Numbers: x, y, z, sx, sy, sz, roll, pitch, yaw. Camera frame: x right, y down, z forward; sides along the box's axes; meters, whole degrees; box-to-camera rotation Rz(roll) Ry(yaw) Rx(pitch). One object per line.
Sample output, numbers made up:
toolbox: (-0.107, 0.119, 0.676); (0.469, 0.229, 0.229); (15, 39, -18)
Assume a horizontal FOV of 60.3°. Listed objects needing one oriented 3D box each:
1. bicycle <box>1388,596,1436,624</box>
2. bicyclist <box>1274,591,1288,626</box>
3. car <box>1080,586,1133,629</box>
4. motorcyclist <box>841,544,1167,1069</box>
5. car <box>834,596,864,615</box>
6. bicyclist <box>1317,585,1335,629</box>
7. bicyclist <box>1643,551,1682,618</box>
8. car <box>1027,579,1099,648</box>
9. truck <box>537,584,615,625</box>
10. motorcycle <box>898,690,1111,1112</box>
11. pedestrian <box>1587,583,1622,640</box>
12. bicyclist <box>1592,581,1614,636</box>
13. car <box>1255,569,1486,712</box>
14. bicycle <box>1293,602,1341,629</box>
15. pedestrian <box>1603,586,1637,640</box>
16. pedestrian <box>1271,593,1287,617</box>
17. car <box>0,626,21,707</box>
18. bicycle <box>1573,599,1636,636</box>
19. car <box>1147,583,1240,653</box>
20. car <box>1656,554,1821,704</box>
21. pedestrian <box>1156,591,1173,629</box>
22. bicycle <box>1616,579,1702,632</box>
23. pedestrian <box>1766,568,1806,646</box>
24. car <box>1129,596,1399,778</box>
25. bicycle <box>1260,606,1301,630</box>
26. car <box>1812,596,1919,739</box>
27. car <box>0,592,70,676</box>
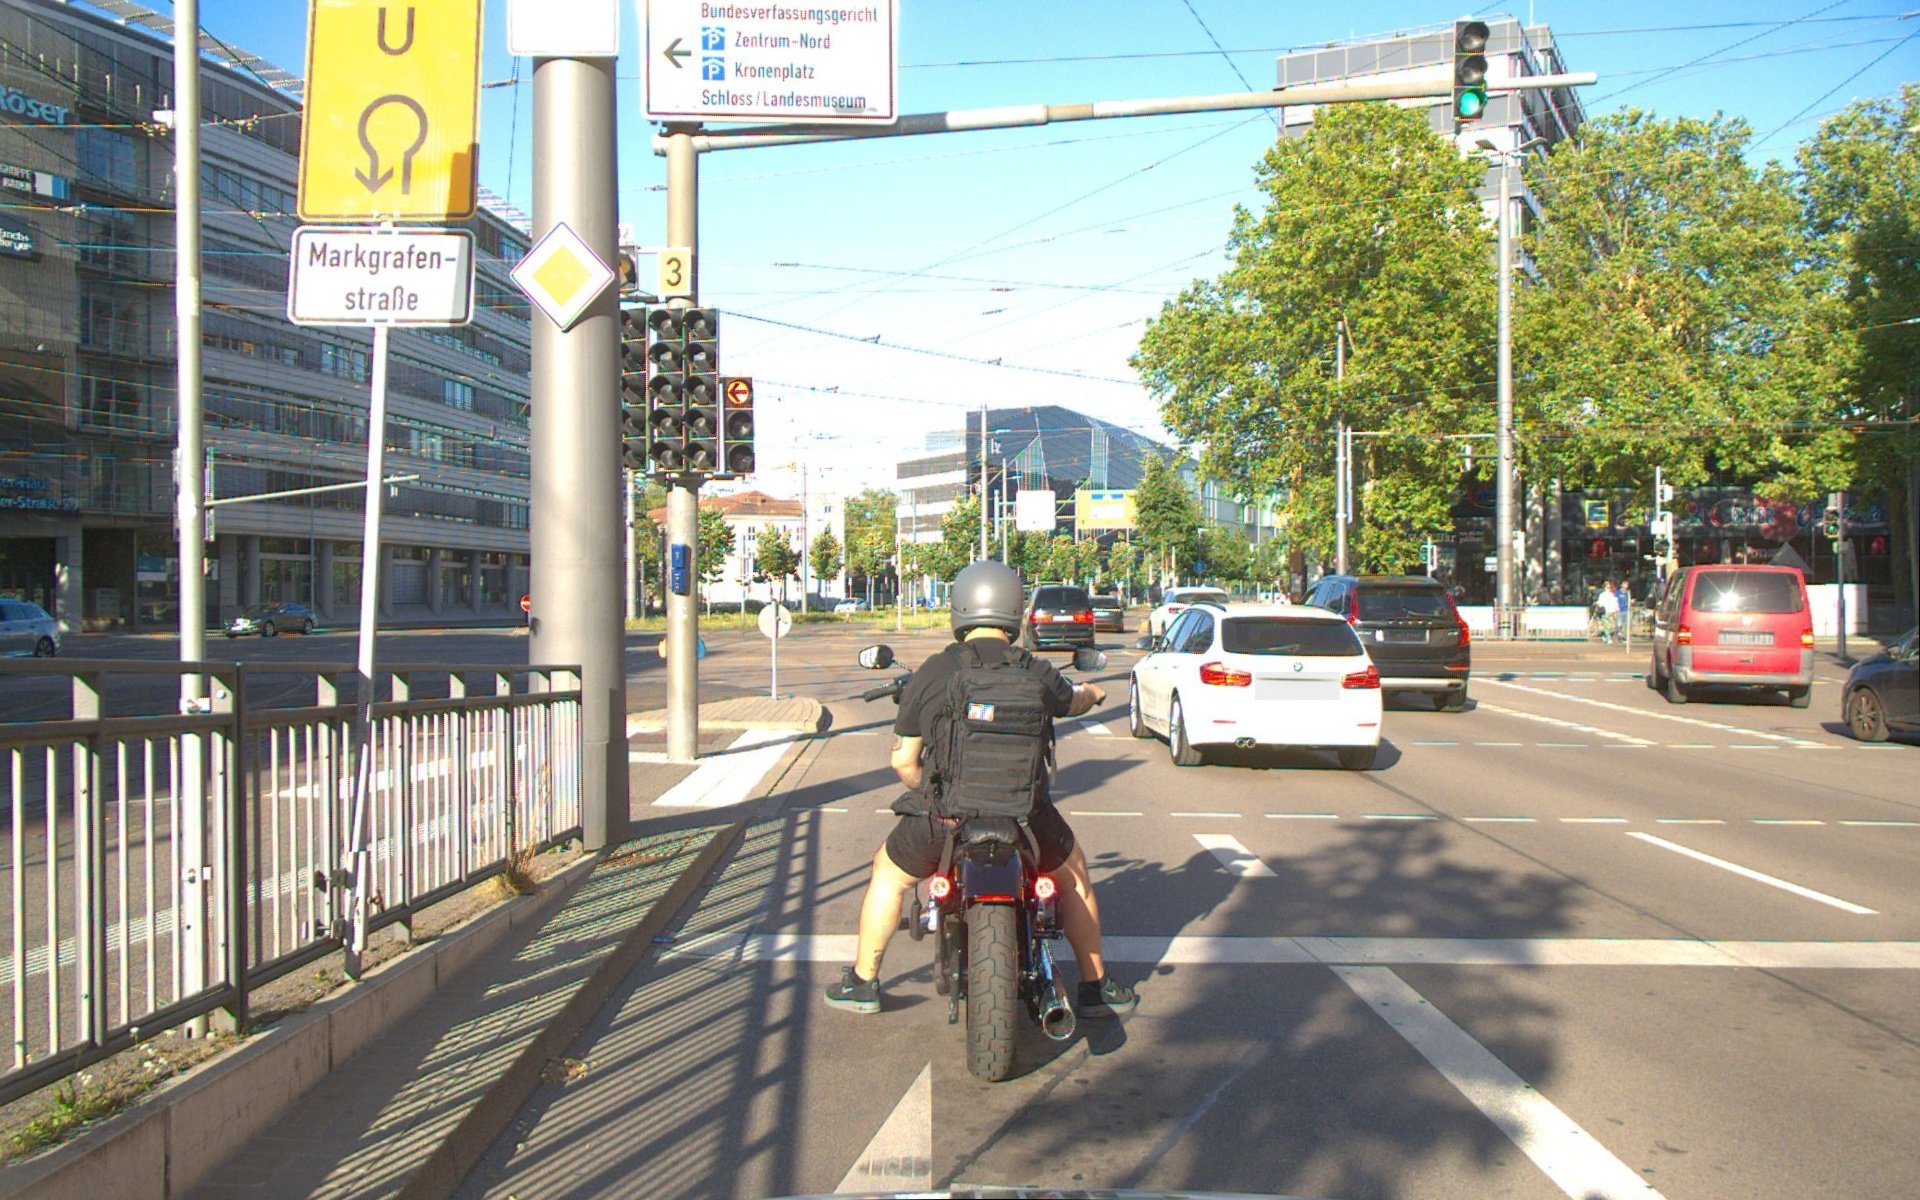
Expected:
bicycle: (18.090, 0.406, 66.215); (1.842, 1.065, 0.360); (1, -1, -2)
bicyclist: (12.665, 0.331, 65.288); (0.341, 1.397, 0.377); (2, -1, -37)
car: (6.137, 0.323, 69.583); (1.767, 1.708, 4.039); (1, -1, -2)
motorcyclist: (0.131, 0.637, 5.567); (1.009, 1.621, 0.873); (0, 0, -1)
car: (-9.064, 0.438, 135.480); (1.786, 1.455, 4.533); (0, 0, 5)
bicyclist: (14.523, 0.280, 65.639); (0.673, 1.702, 0.541); (0, -1, 18)
bicyclist: (19.477, -0.426, 45.859); (0.719, 1.840, 0.692); (1, -1, -31)
car: (2.680, 0.366, 43.676); (1.766, 1.708, 4.042); (1, -1, 2)
truck: (-19.184, 0.226, 82.823); (1.951, 1.912, 5.160); (-3, -1, 9)
motorcycle: (0.110, 0.919, 5.823); (0.588, 1.054, 2.233); (1, 0, -1)
pedestrian: (18.054, 0.321, 46.341); (0.559, 1.559, 0.696); (1, -1, -26)
bicyclist: (22.205, 0.301, 57.143); (0.572, 1.870, 0.402); (1, -1, -1)
car: (5.531, 0.472, 22.898); (1.698, 1.762, 4.607); (1, 1, -5)
bicycle: (14.198, 0.602, 65.740); (1.831, 1.062, 0.537); (0, -1, 18)
pedestrian: (18.589, 0.355, 46.569); (0.559, 1.505, 0.696); (1, -1, -27)
pedestrian: (17.592, 0.277, 91.254); (0.802, 1.337, 0.638); (1, -1, 8)
car: (-14.574, 0.888, 22.606); (2.835, 1.081, 1.235); (1, -1, -22)
bicycle: (22.261, 0.616, 57.139); (2.001, 1.235, 0.421); (1, -1, -1)
car: (5.766, 0.407, 41.257); (1.696, 1.626, 4.040); (1, 1, -1)
car: (11.588, 0.416, 24.879); (1.766, 2.044, 4.474); (-1, -1, 19)
pedestrian: (8.524, 0.413, 68.791); (0.576, 1.584, 0.488); (1, -1, -9)
bicycle: (19.372, 0.169, 45.799); (2.881, 1.391, 0.720); (1, -1, -33)
pedestrian: (20.694, 0.177, 41.453); (0.774, 1.931, 0.817); (1, -1, 19)
car: (2.744, 0.740, 15.894); (1.696, 1.482, 4.417); (1, -1, -1)
bicycle: (12.653, 0.697, 65.280); (0.354, 0.942, 1.807); (2, -1, -36)
car: (10.856, 0.729, 17.136); (1.698, 1.475, 4.037); (1, 0, -5)
car: (-19.184, 0.669, 31.888); (1.789, 1.596, 4.690); (-1, 0, -4)
